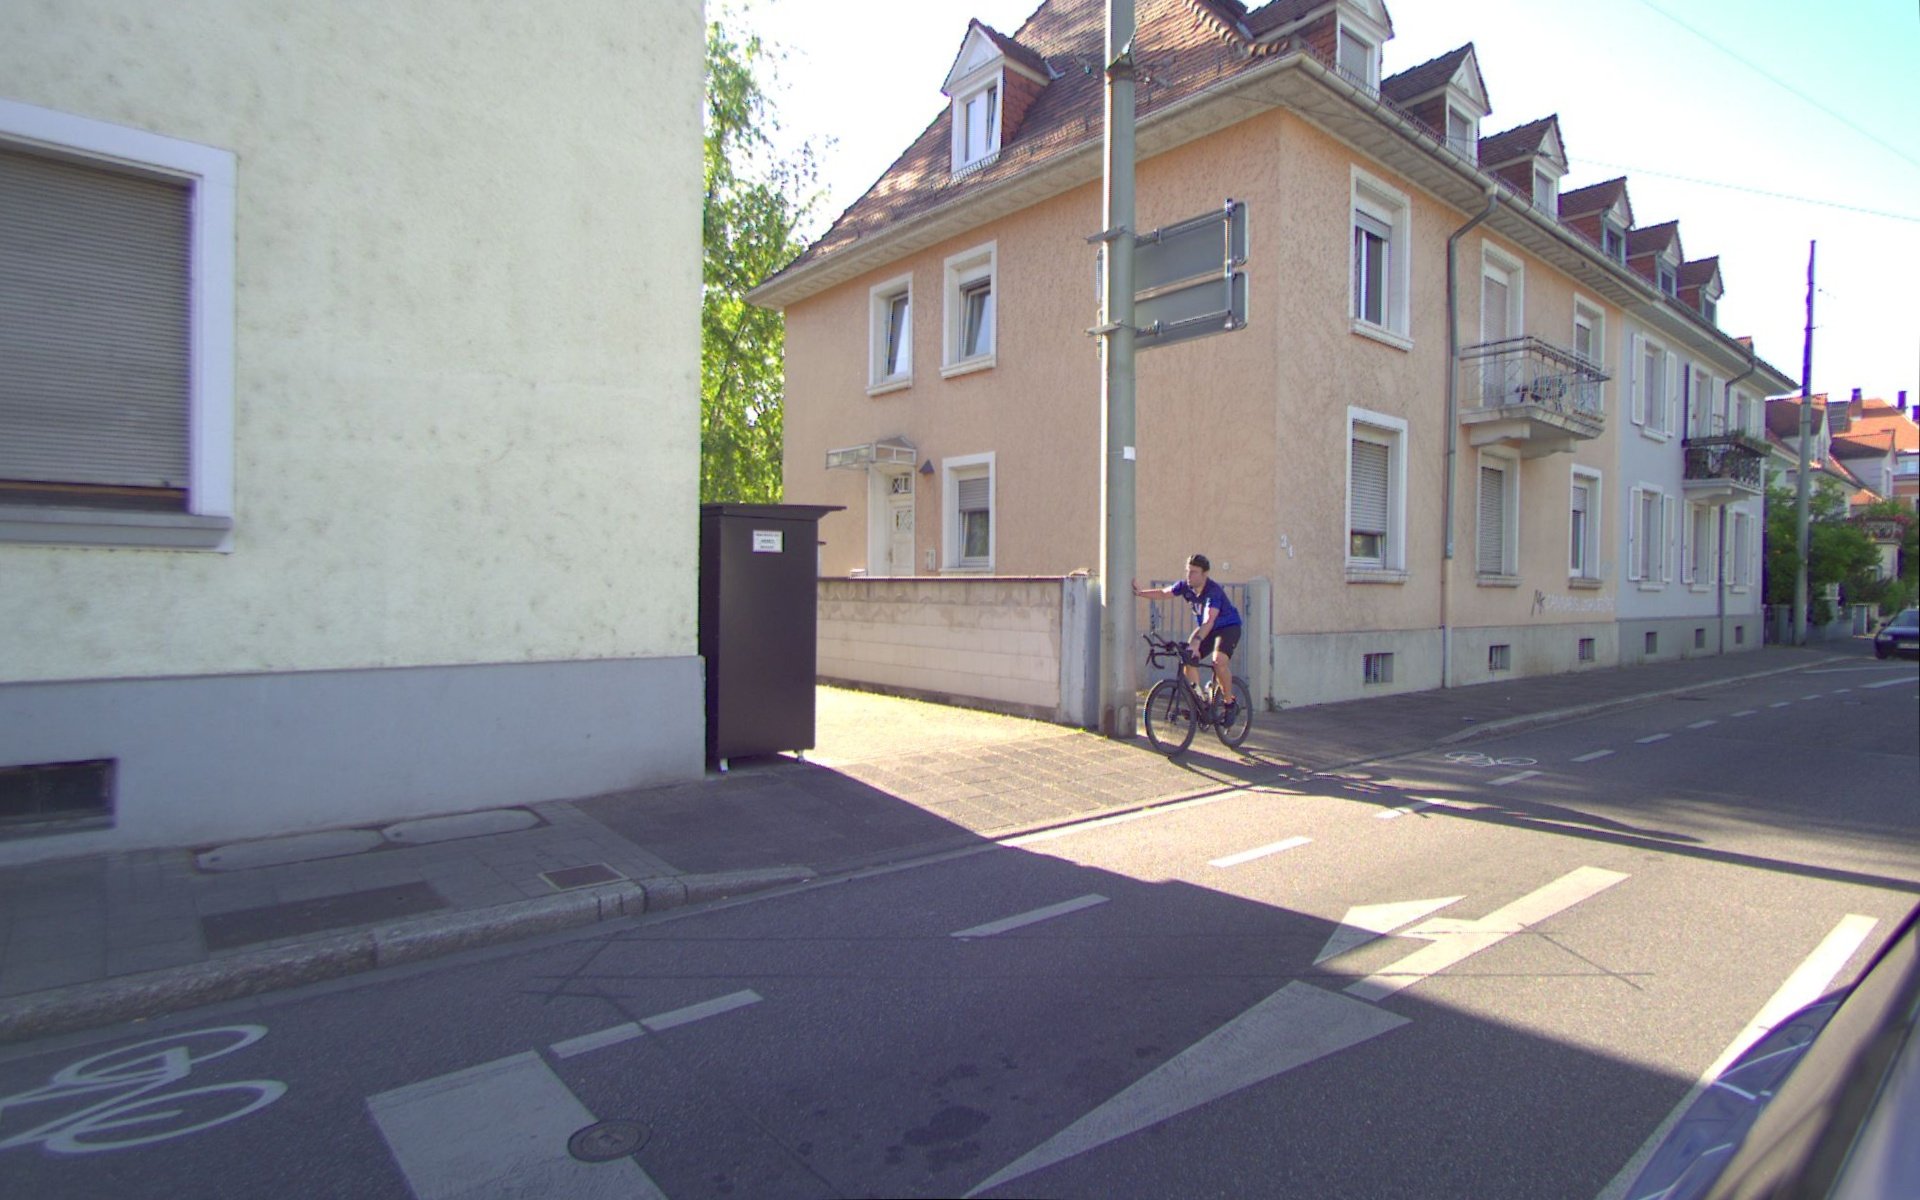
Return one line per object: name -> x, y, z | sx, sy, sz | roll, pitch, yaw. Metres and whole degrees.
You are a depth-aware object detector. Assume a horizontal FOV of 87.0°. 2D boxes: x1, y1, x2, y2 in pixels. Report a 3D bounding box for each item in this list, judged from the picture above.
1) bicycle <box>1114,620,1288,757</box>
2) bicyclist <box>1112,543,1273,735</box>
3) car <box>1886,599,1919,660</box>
bicycle -> 2.258, 0.767, 9.369 | 1.744, 1.081, 0.592 | 0, 5, -41
bicyclist -> 2.181, 0.323, 9.558 | 0.870, 1.627, 1.052 | 1, 5, -41
car -> 26.683, 0.761, 27.366 | 3.742, 1.601, 1.696 | 0, -1, -36
